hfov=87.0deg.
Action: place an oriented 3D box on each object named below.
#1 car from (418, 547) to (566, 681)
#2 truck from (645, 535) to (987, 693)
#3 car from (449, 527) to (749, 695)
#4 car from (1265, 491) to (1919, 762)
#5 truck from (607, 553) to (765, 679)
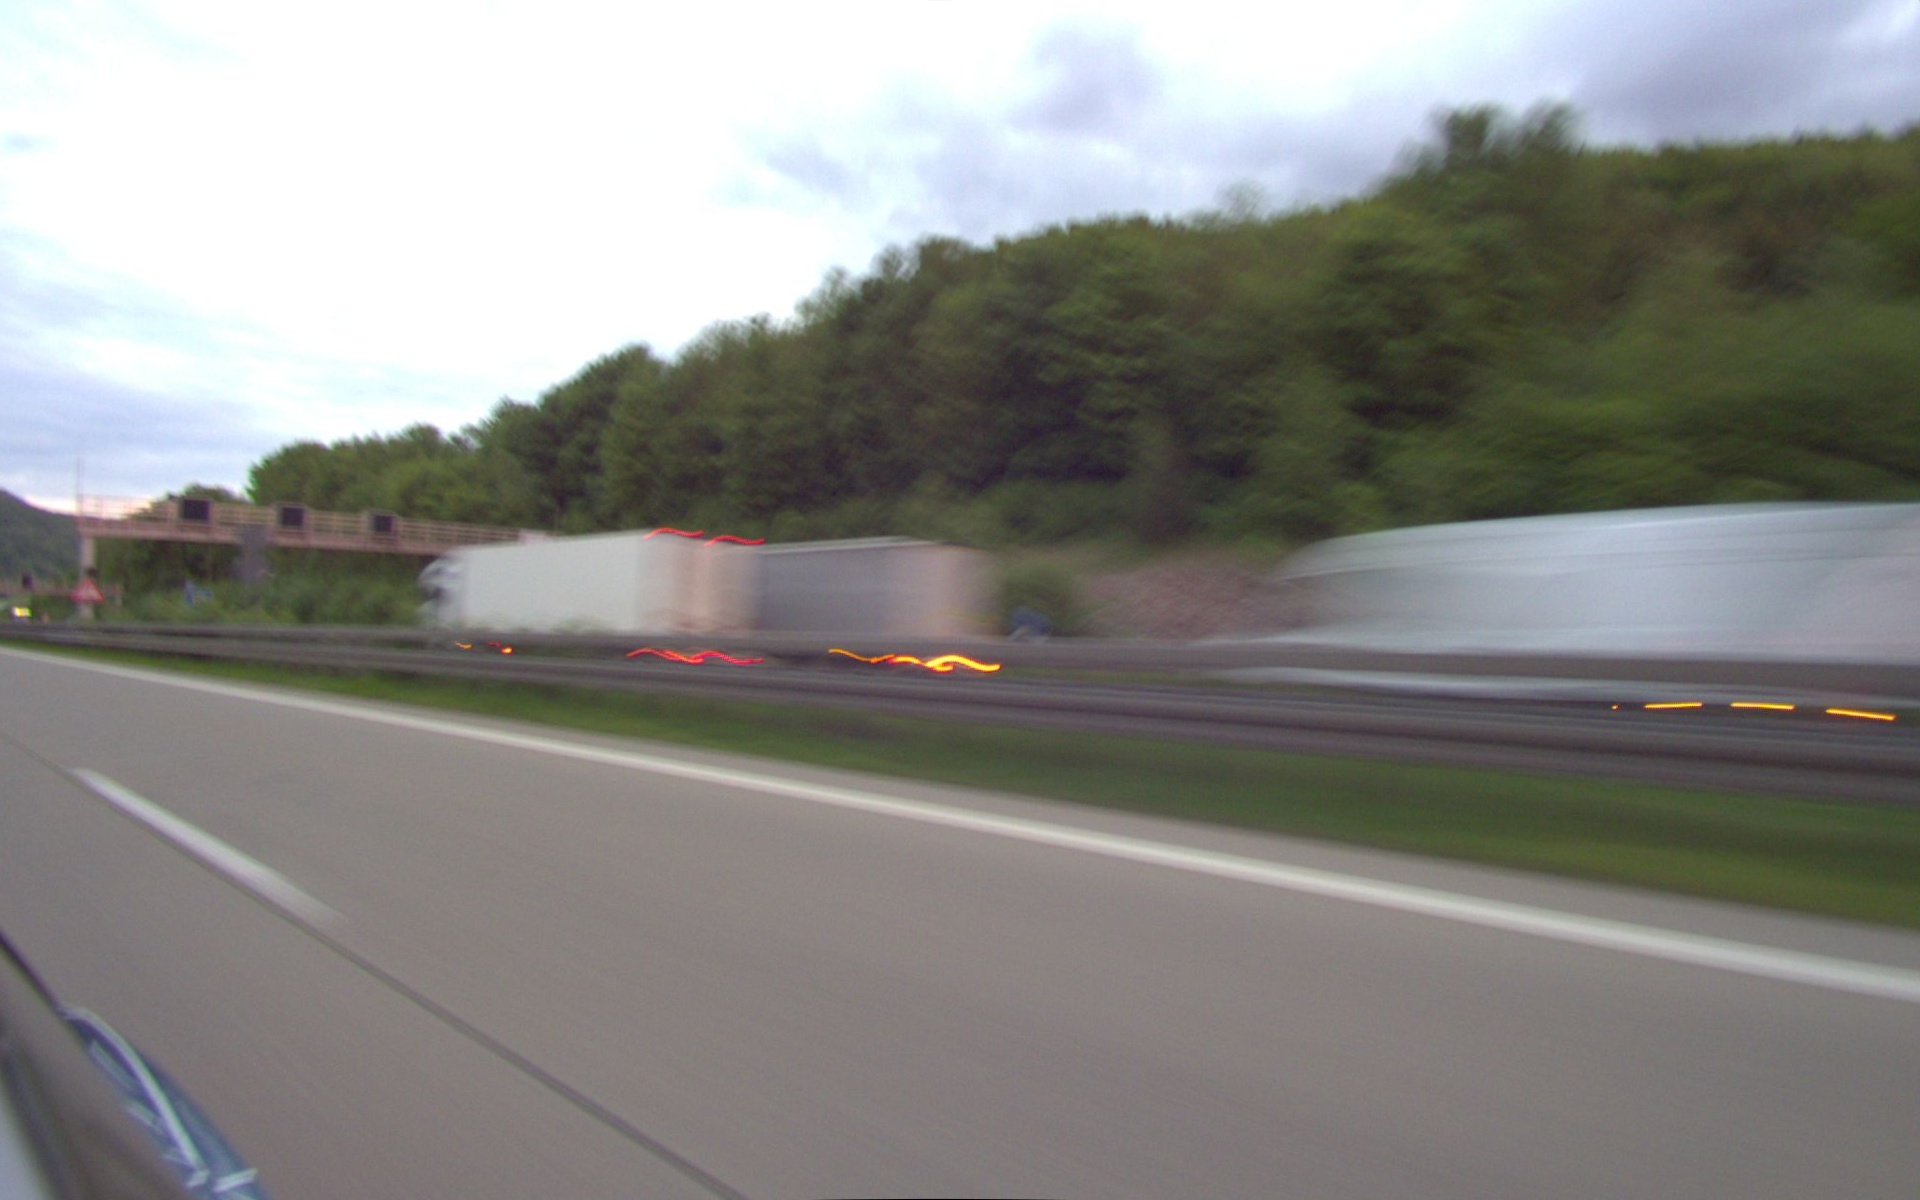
[{"bbox_3d":[-17.324,0.532,37.317,5.926,4.521,2.769,-1,-2,41],"label":"car"},{"bbox_3d":[-5.219,0.490,32.704,13.596,4.242,2.865,-1,-2,42],"label":"truck"},{"bbox_3d":[-12.254,0.415,32.917,13.904,4.521,2.769,-1,-2,41],"label":"car"},{"bbox_3d":[6.778,0.278,11.136,6.337,2.304,1.972,-1,-2,42],"label":"car"},{"bbox_3d":[-10.093,0.608,37.056,5.862,4.242,2.826,-1,-2,42],"label":"truck"}]
